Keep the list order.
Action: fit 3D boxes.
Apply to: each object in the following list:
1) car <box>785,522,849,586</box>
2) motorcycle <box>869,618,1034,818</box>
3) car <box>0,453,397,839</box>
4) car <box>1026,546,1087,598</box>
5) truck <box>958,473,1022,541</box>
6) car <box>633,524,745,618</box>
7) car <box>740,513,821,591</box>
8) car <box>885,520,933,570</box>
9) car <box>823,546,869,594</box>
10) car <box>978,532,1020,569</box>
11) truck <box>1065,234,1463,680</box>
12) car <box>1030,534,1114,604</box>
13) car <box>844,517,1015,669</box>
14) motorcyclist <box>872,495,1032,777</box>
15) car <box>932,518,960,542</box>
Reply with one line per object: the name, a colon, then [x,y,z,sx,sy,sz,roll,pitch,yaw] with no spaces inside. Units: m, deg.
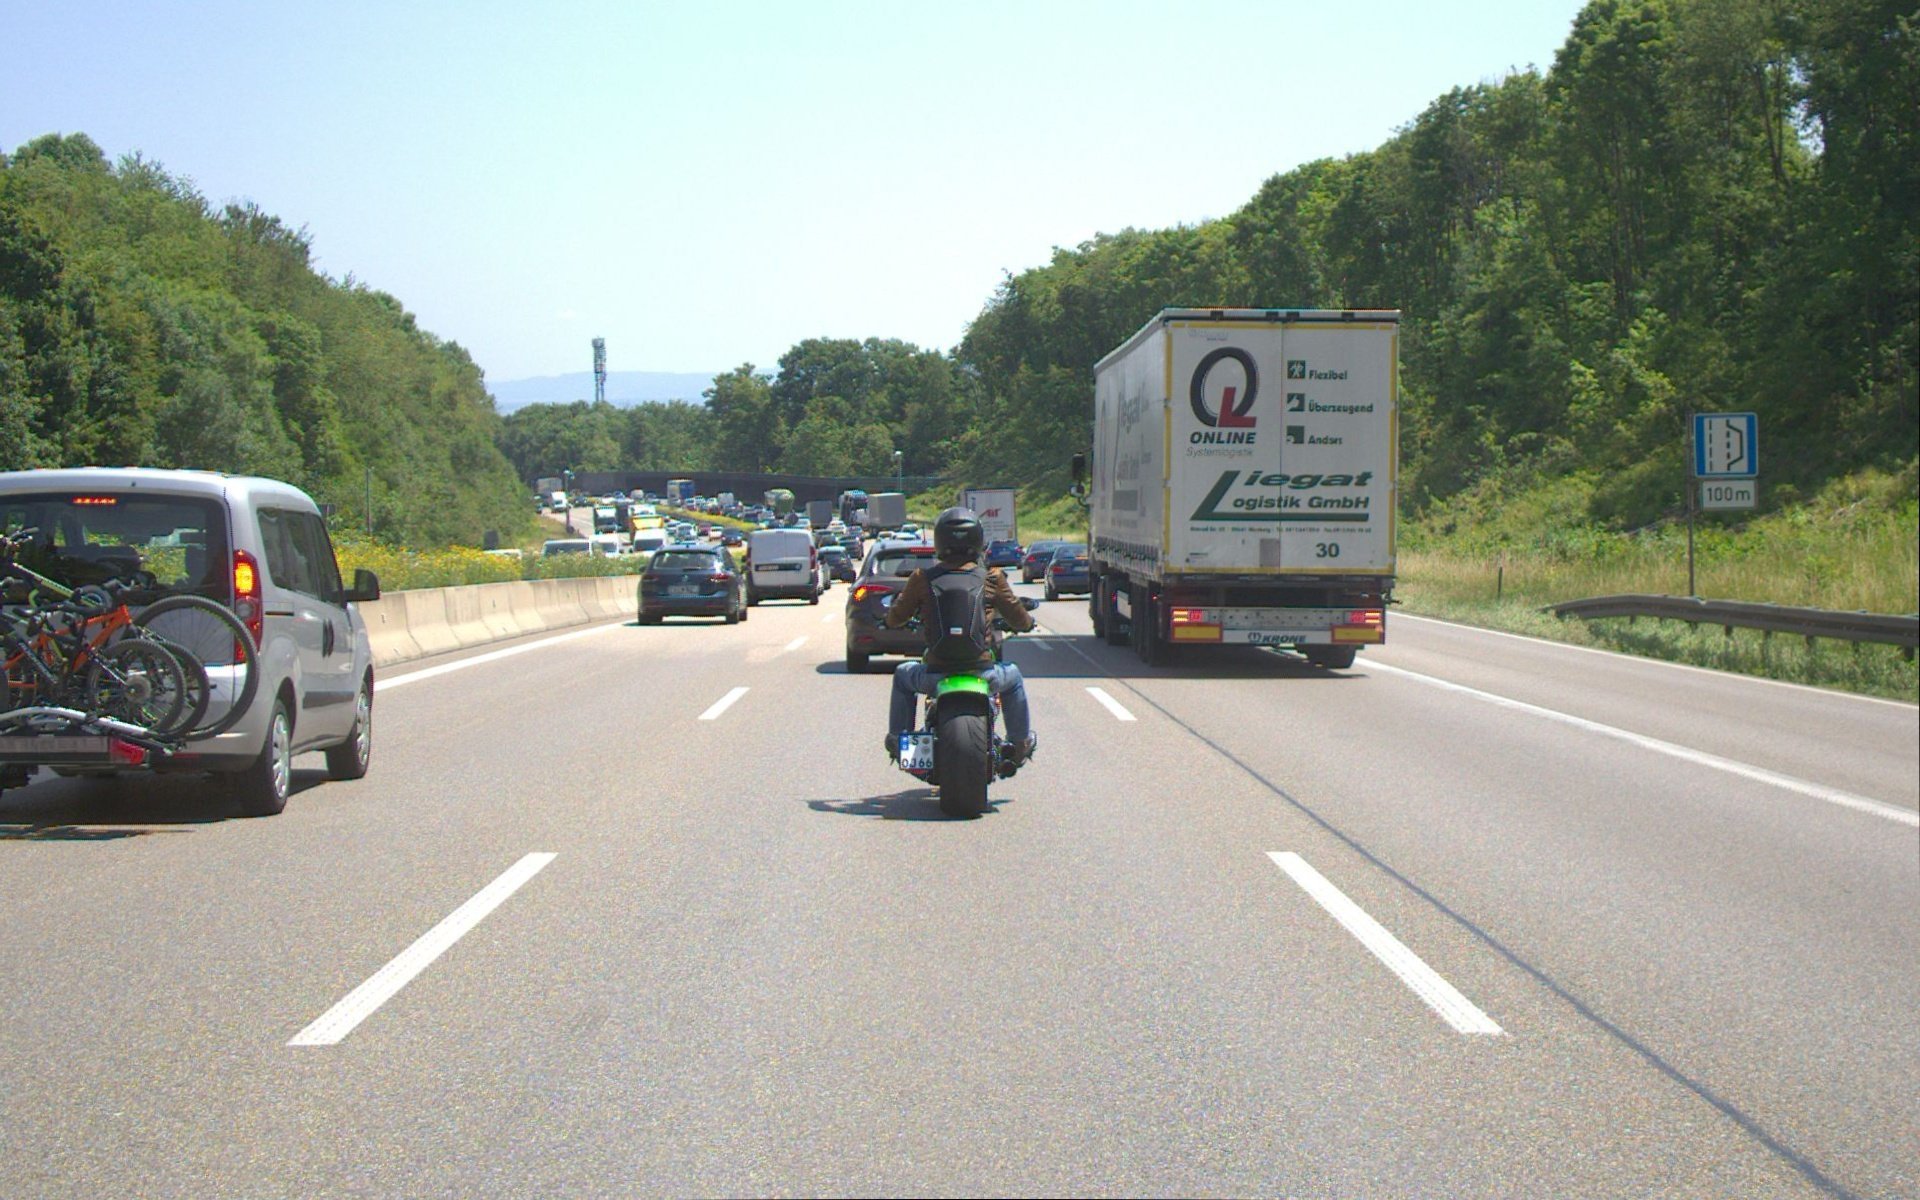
car: [-4.331,-1.408,104.637,1.831,1.804,4.121,1,2,-1]
motorcycle: [-0.041,0.622,19.032,0.862,0.978,2.131,0,2,0]
car: [-4.496,0.116,19.176,1.898,1.841,5.484,1,2,-1]
car: [3.170,-0.940,113.947,1.831,1.553,4.121,1,2,-1]
truck: [1.549,-4.920,180.117,3.067,3.335,9.653,1,2,-1]
car: [-4.908,-0.557,62.659,1.758,1.538,4.396,1,2,-1]
car: [-4.430,-1.214,85.296,1.831,1.804,4.121,1,2,-1]
car: [-1.984,-2.149,134.140,1.831,1.804,4.121,1,2,-1]
car: [-4.649,-1.237,140.723,1.831,1.804,4.121,1,2,-1]
car: [1.794,-2.293,158.797,1.831,1.553,4.121,1,2,-1]
truck: [3.530,-1.857,45.722,3.383,4.701,17.711,1,2,-1]
car: [2.707,-0.771,83.940,1.831,1.553,4.121,1,2,-1]
car: [-0.374,-0.130,39.761,1.845,1.552,4.440,1,2,-1]
motorcyclist: [-0.041,0.180,18.876,0.856,1.509,0.914,0,1,0]
car: [-0.961,-4.776,234.941,1.831,1.553,4.121,1,2,-1]
